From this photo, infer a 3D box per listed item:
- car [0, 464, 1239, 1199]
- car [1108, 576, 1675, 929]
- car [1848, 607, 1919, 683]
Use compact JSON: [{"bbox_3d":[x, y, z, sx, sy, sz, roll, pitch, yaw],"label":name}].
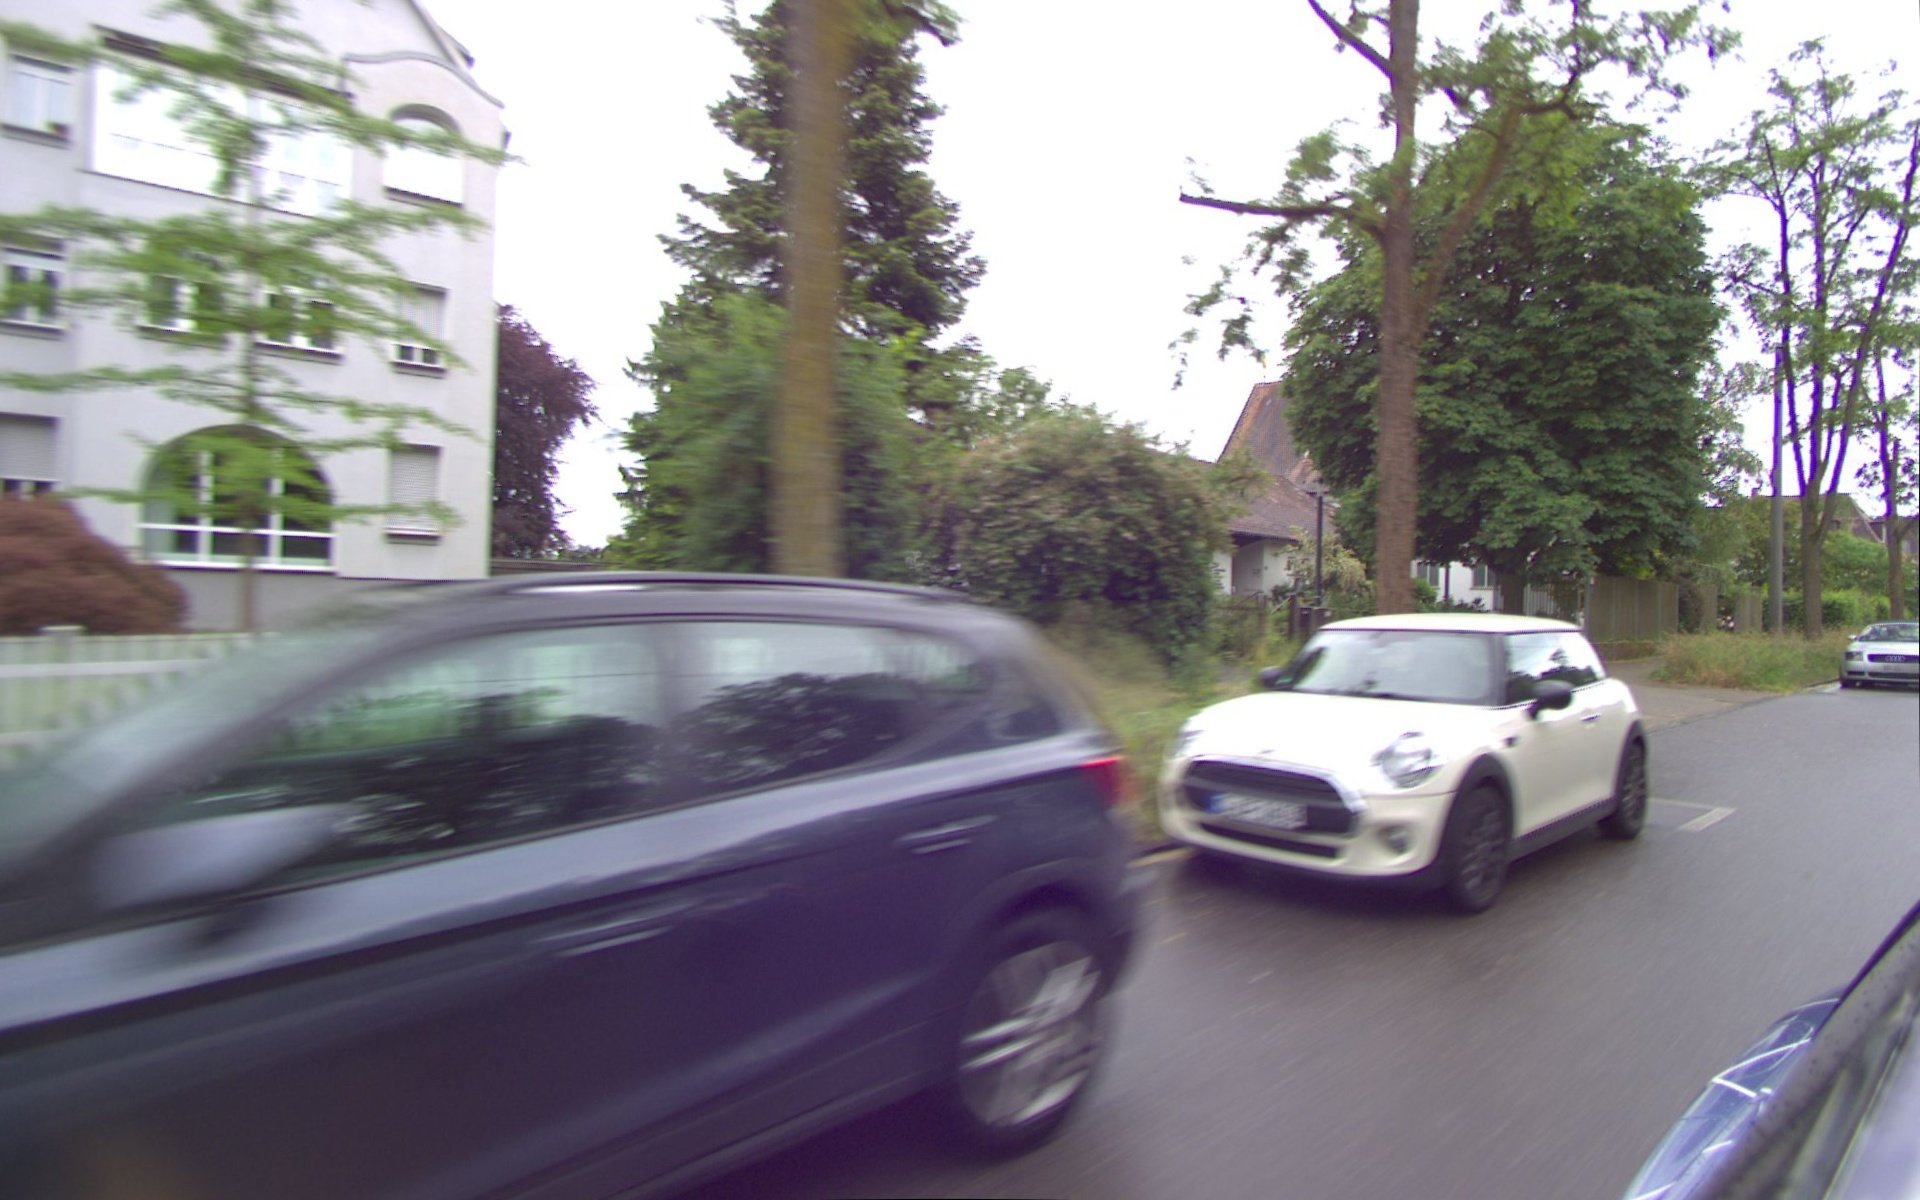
[{"bbox_3d":[-1.182,0.624,2.508,4.003,1.575,1.681,1,-1,-41],"label":"car"},{"bbox_3d":[2.758,0.667,6.132,3.659,1.483,1.741,1,-1,-41],"label":"car"},{"bbox_3d":[19.144,0.851,20.115,3.931,1.413,1.784,1,-1,-42],"label":"car"}]
